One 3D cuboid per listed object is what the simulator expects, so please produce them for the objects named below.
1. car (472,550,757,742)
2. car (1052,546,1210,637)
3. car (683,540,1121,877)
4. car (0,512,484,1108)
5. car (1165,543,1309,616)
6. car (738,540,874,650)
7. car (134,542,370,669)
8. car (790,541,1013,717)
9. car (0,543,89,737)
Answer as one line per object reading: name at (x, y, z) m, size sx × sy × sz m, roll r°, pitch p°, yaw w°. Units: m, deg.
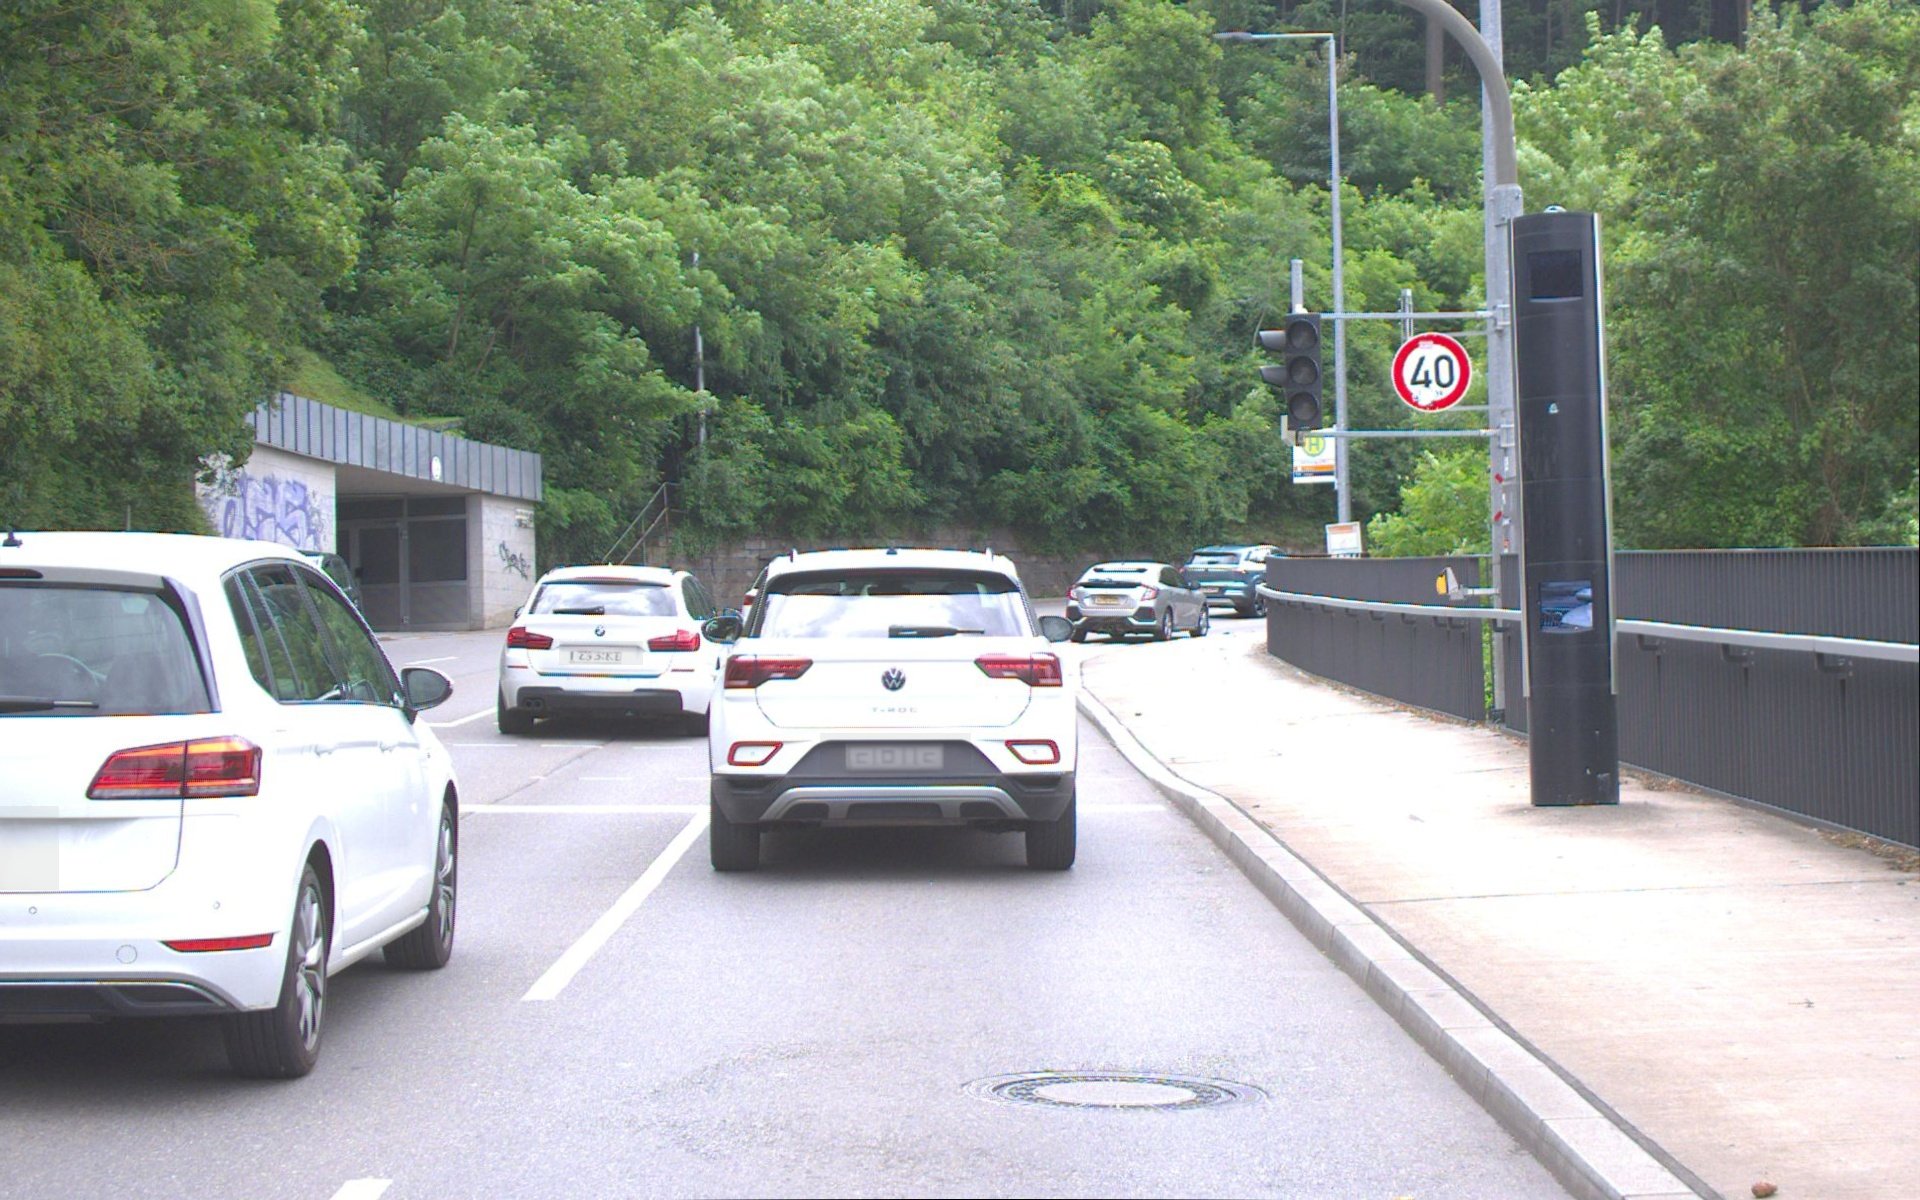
car at (-2.990, 0.347, 30.696) m, size 1.993 × 1.552 × 4.681 m, roll 1°, pitch 1°, yaw 1°
car at (3.109, -0.147, 61.723) m, size 2.033 × 1.514 × 4.198 m, roll 2°, pitch 0°, yaw 14°
car at (-0.177, 0.491, 17.760) m, size 1.814 × 1.534 × 4.007 m, roll 0°, pitch 0°, yaw 6°
car at (-2.656, 0.519, 11.080) m, size 1.720 × 1.549 × 4.276 m, roll 0°, pitch 1°, yaw -1°
car at (6.132, -0.436, 75.726) m, size 1.884 × 1.514 × 3.995 m, roll 2°, pitch 0°, yaw 25°
car at (-2.332, -0.078, 53.078) m, size 1.862 × 1.589 × 4.000 m, roll 2°, pitch 0°, yaw 0°
car at (-8.644, 0.057, 42.324) m, size 1.813 × 1.429 × 4.248 m, roll 2°, pitch 0°, yaw 3°
car at (-0.602, 0.305, 39.216) m, size 1.994 × 1.837 × 4.149 m, roll 2°, pitch 0°, yaw 6°
car at (-8.346, 0.293, 27.306) m, size 1.781 × 1.477 × 4.212 m, roll 2°, pitch 1°, yaw 0°
